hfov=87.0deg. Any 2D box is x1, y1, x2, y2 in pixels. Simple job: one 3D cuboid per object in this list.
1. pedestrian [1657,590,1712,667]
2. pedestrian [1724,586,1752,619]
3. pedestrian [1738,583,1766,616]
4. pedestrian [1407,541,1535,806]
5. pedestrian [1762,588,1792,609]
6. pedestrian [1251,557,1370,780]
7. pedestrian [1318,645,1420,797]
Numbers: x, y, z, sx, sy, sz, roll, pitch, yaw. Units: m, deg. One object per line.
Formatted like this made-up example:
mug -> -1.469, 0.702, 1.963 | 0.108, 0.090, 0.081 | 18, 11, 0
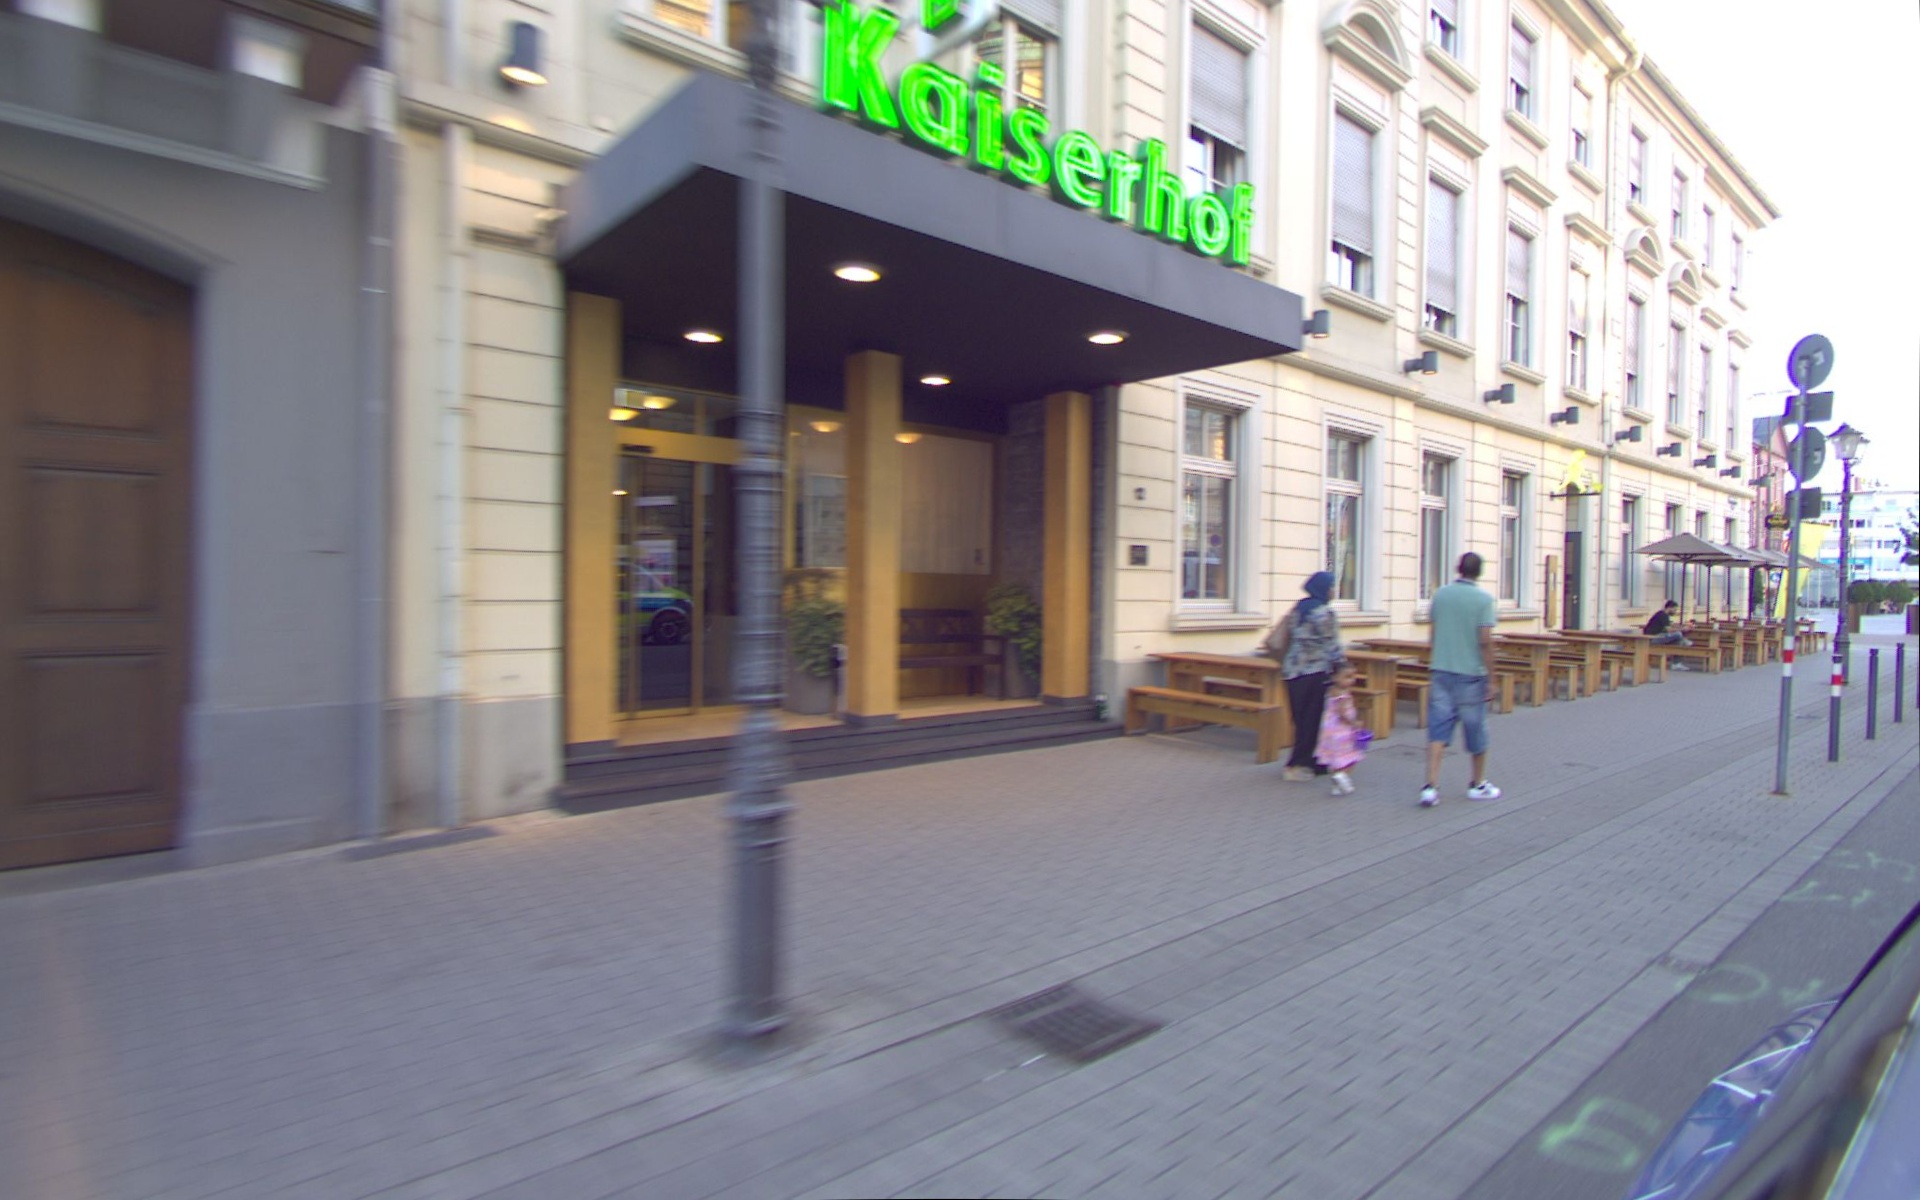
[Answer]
pedestrian -> 13.425, 0.504, 18.783 | 0.771, 1.376, 0.716 | 1, 1, 33
pedestrian -> 35.480, 0.113, 46.155 | 0.572, 1.466, 0.832 | 0, 1, -8
pedestrian -> 36.193, -0.037, 46.259 | 0.572, 1.466, 0.832 | 0, 1, -10
pedestrian -> 3.569, 0.476, 7.074 | 0.548, 1.751, 0.608 | 0, 1, -39
pedestrian -> 51.324, -0.108, 63.585 | 1.397, 1.278, 1.310 | 1, 1, 37
pedestrian -> 2.688, 0.486, 7.777 | 0.604, 1.621, 0.631 | 0, 1, -39
pedestrian -> 2.935, 0.841, 7.264 | 0.548, 0.992, 0.461 | 0, 1, -40
